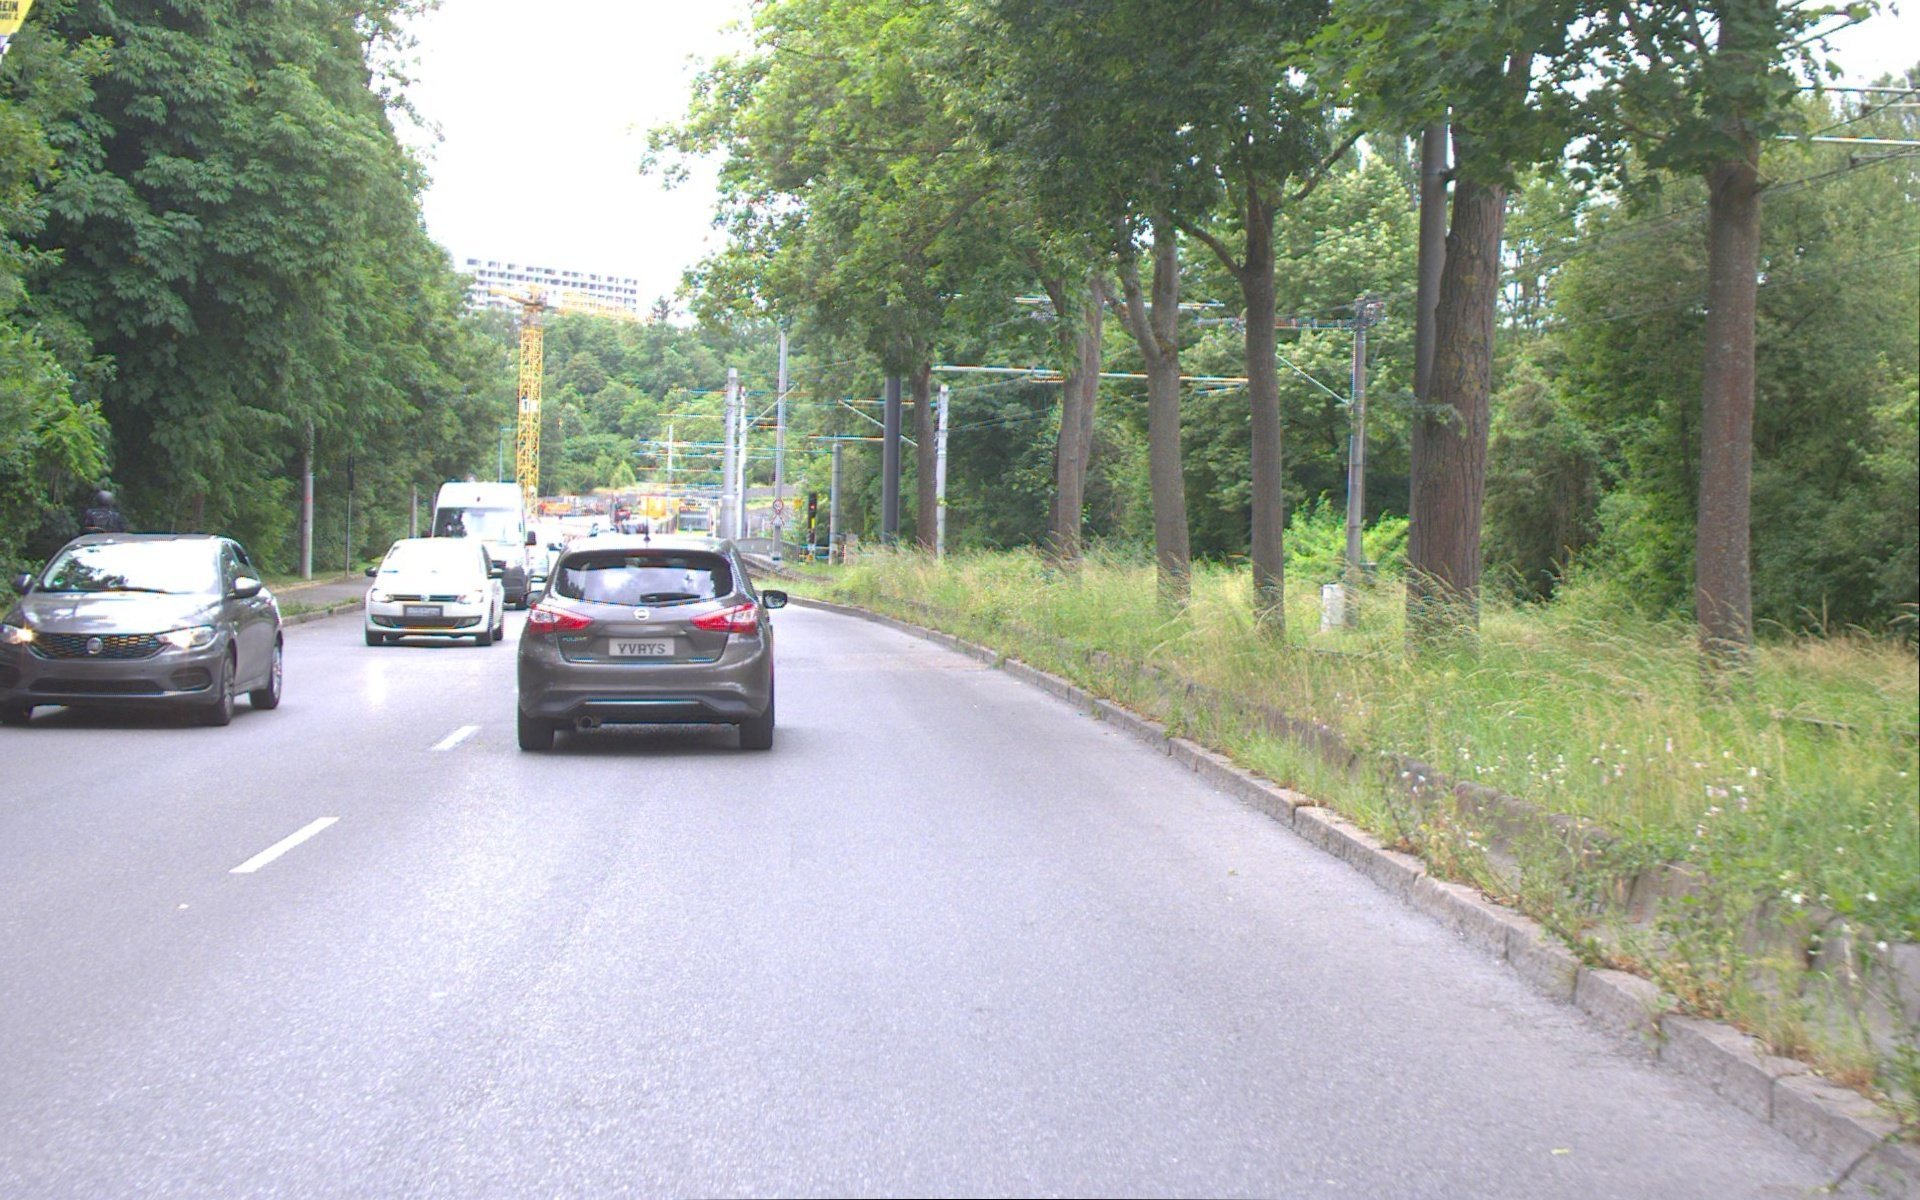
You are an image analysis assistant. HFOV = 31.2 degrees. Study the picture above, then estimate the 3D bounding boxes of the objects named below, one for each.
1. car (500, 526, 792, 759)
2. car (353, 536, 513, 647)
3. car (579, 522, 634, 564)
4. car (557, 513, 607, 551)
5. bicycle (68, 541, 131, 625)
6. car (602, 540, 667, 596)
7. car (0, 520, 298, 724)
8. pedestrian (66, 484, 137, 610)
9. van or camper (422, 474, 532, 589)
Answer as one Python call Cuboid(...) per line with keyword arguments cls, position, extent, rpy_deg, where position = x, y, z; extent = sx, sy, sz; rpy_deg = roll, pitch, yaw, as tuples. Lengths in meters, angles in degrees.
Cuboid(cls="car", position=(-2.219, 0.244, 25.221), extent=(1.816, 1.503, 4.001), rpy_deg=(0, 2, -1))
Cuboid(cls="car", position=(-7.130, -0.147, 46.796), extent=(1.724, 1.326, 3.476), rpy_deg=(2, 2, -2))
Cuboid(cls="car", position=(-13.724, -2.235, 133.638), extent=(1.776, 1.467, 4.001), rpy_deg=(3, 2, -2))
Cuboid(cls="car", position=(-16.217, -2.931, 147.643), extent=(1.776, 1.467, 4.001), rpy_deg=(2, 2, -2))
Cuboid(cls="bicycle", position=(-11.056, -0.224, 44.195), extent=(0.488, 1.027, 1.124), rpy_deg=(3, 2, 0))
Cuboid(cls="car", position=(-9.841, -0.990, 103.674), extent=(1.775, 1.467, 4.001), rpy_deg=(3, 2, -7))
Cuboid(cls="car", position=(-6.545, 0.129, 27.696), extent=(1.749, 1.459, 3.921), rpy_deg=(2, 1, -2))
Cuboid(cls="pedestrian", position=(-11.011, -0.690, 44.114), extent=(0.617, 1.566, 0.849), rpy_deg=(3, 2, 0))
Cuboid(cls="van or camper", position=(-9.789, -1.428, 69.954), extent=(1.925, 2.143, 3.933), rpy_deg=(3, 2, -5))
